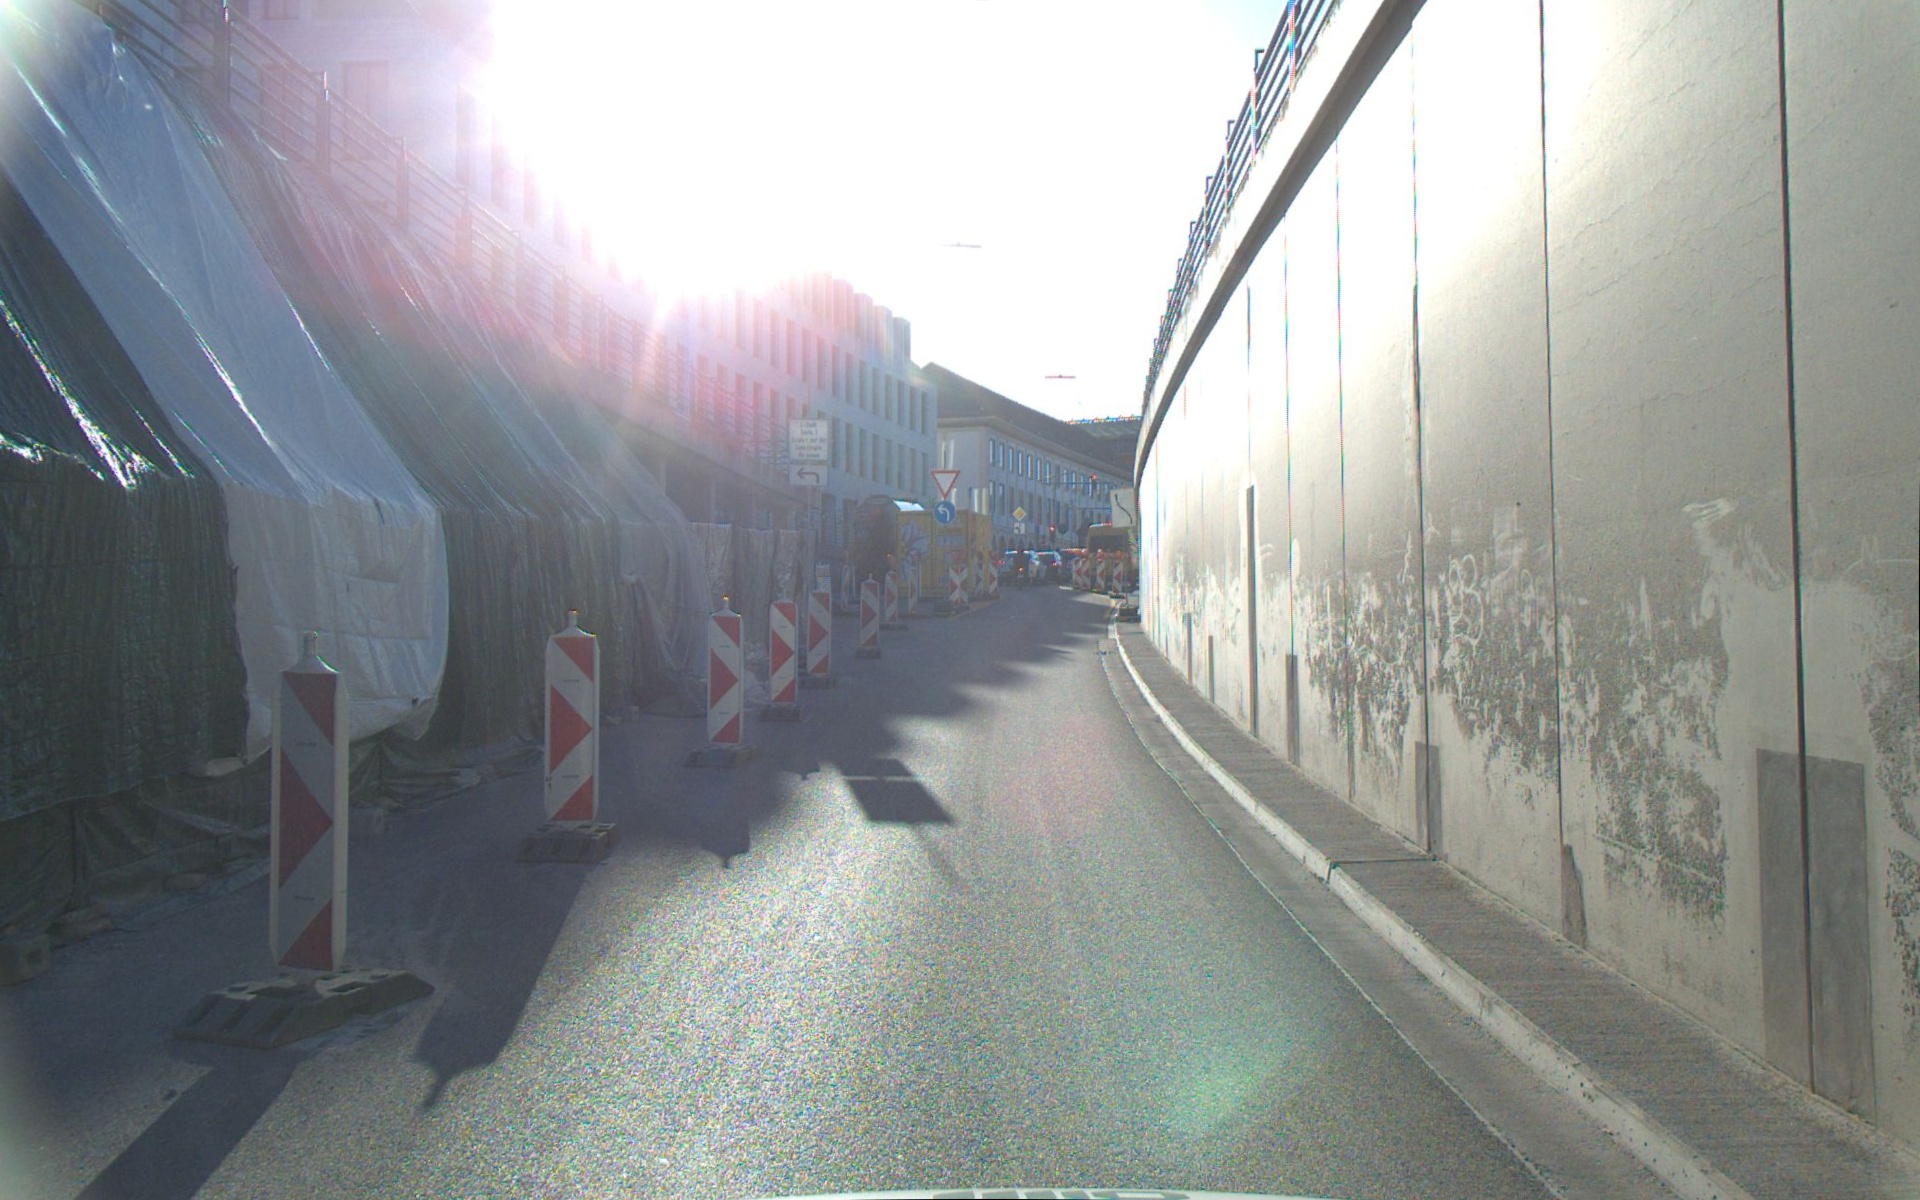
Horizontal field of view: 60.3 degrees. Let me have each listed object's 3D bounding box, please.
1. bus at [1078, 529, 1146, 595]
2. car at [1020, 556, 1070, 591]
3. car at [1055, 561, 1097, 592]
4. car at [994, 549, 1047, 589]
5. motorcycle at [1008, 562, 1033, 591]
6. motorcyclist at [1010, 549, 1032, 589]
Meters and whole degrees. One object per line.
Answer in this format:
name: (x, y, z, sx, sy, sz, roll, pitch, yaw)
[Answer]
bus: (6.335, -1.561, 68.430, 2.177, 2.601, 4.431, 1, 1, 13)
car: (4.021, -1.224, 77.861, 1.782, 1.560, 4.004, 1, 1, 11)
car: (6.027, -1.216, 85.613, 1.817, 1.560, 4.003, 1, 1, 9)
car: (2.661, -1.321, 71.634, 1.738, 1.632, 4.004, 1, 1, 10)
motorcycle: (2.372, -0.917, 64.702, 0.755, 1.010, 2.185, 0, -2, 8)
motorcyclist: (2.389, -1.204, 64.827, 0.787, 1.531, 0.777, 0, -2, 8)
